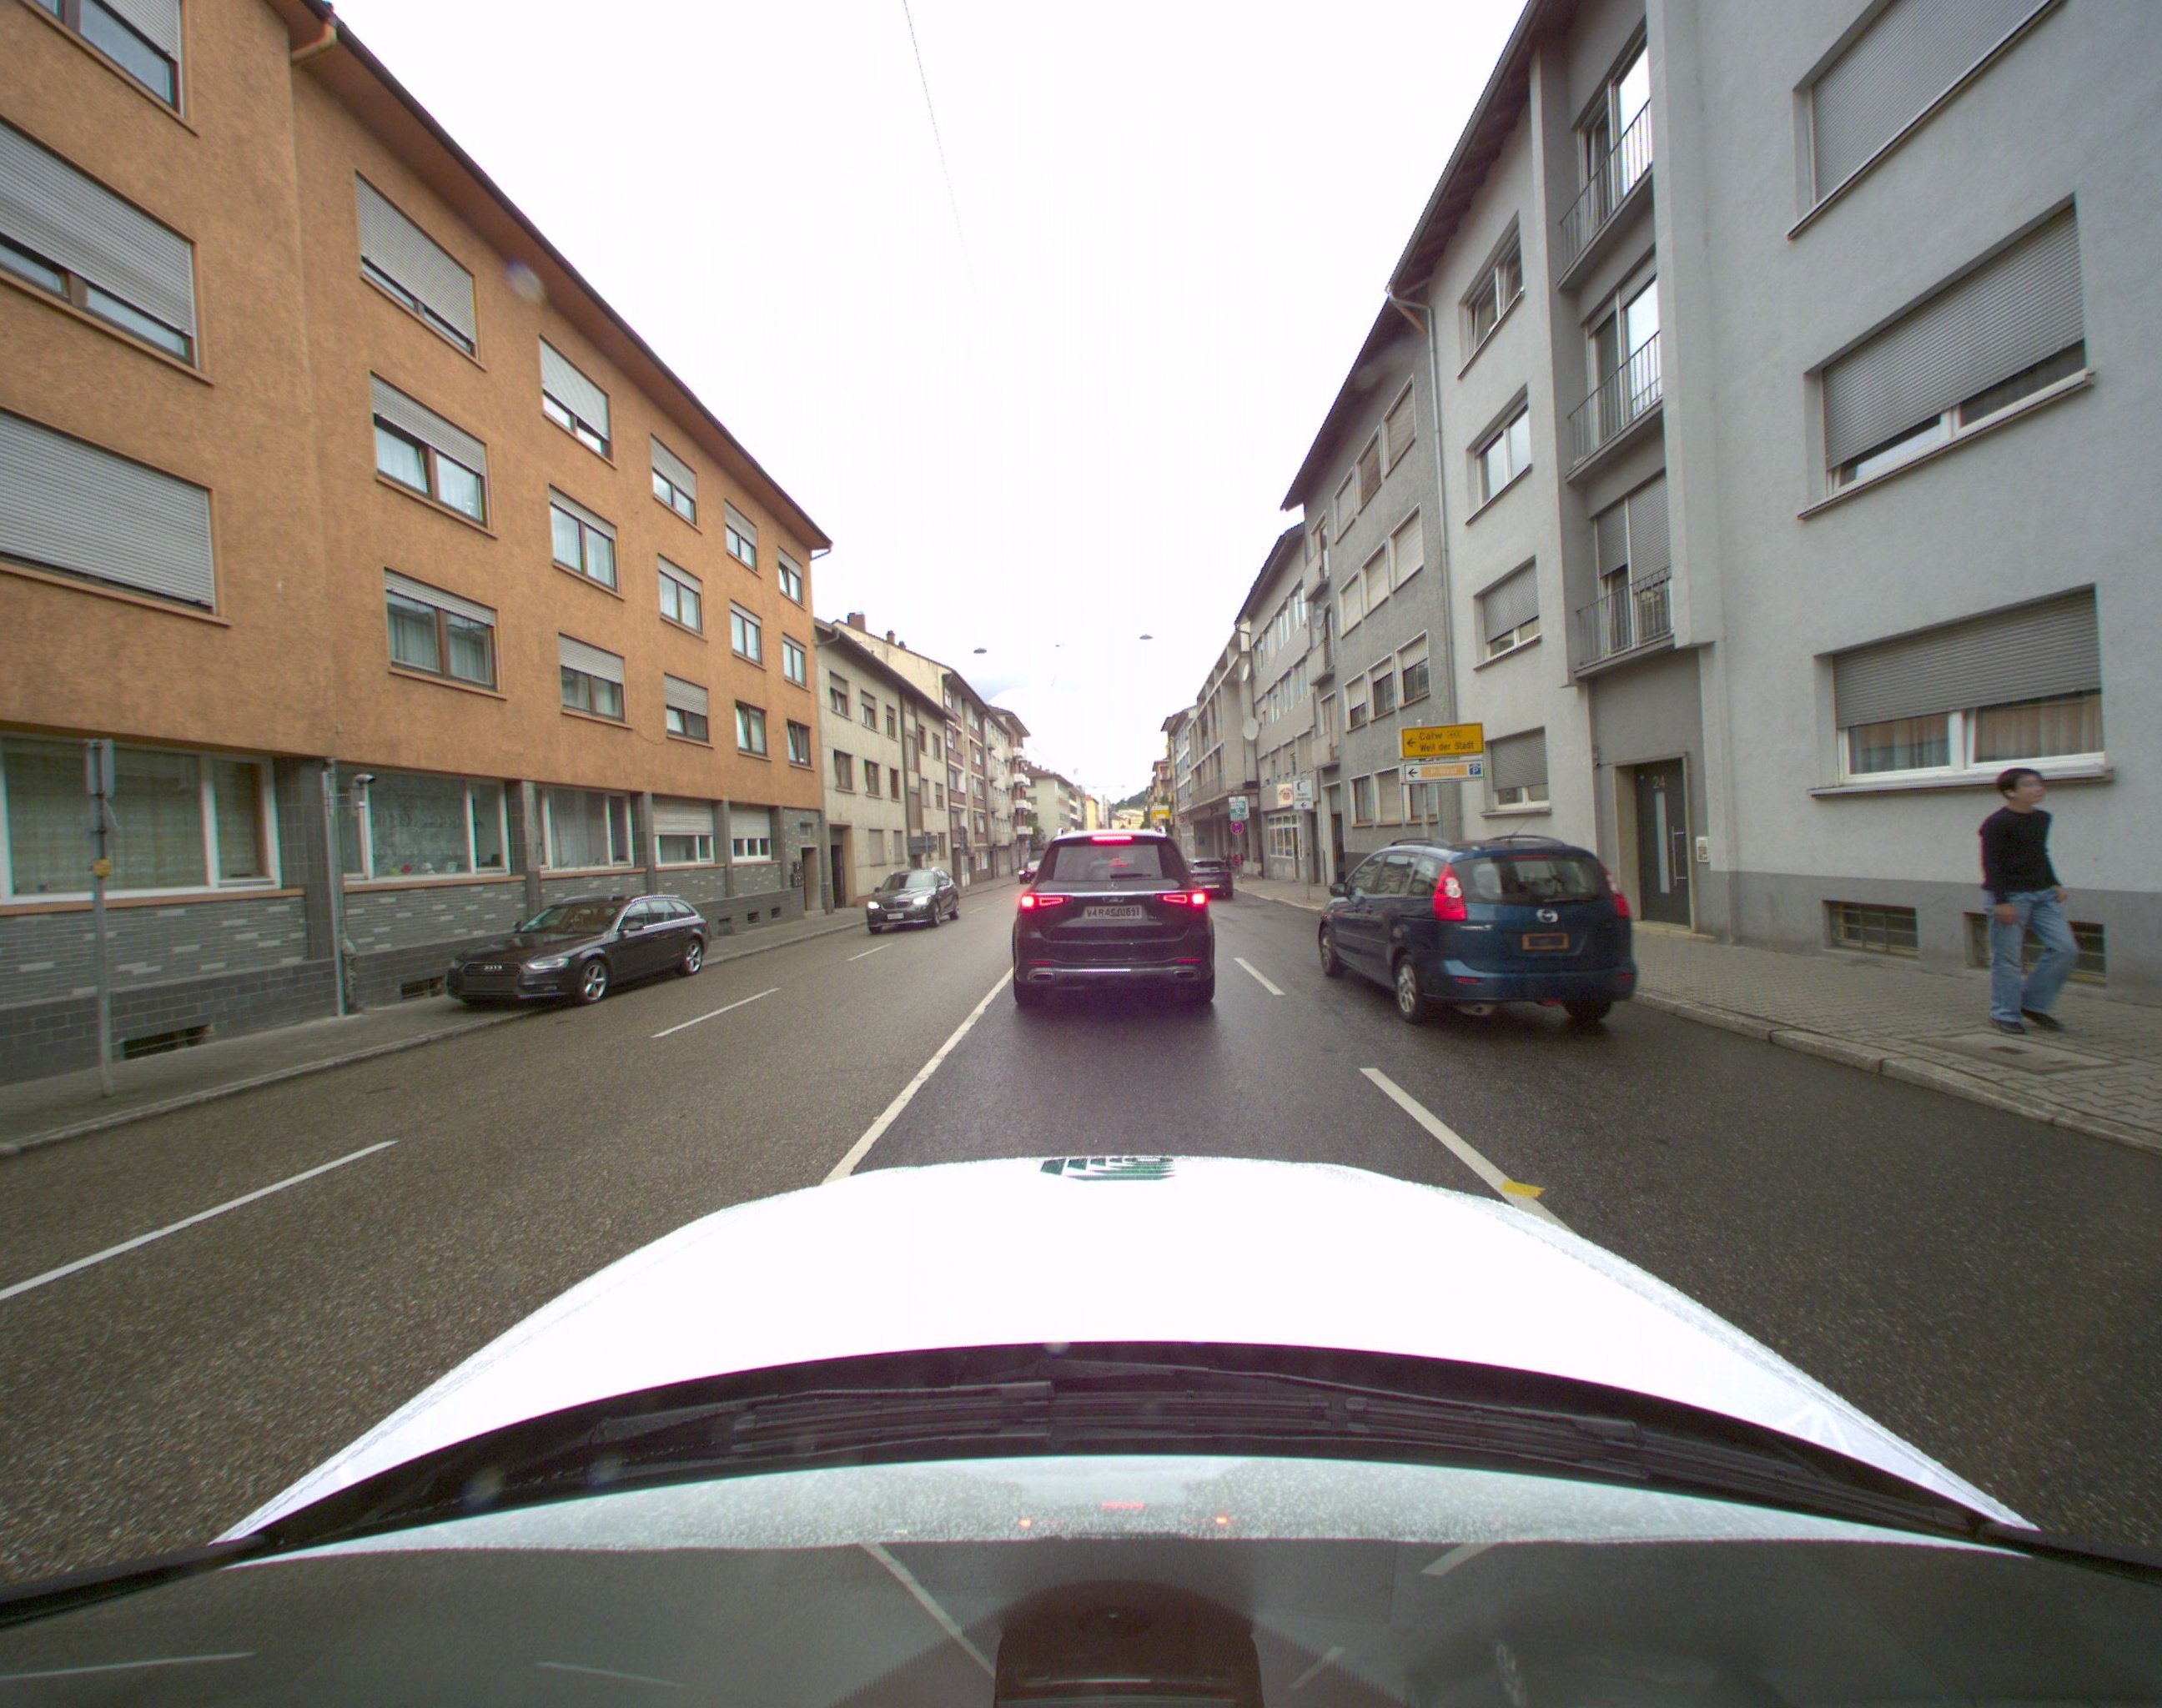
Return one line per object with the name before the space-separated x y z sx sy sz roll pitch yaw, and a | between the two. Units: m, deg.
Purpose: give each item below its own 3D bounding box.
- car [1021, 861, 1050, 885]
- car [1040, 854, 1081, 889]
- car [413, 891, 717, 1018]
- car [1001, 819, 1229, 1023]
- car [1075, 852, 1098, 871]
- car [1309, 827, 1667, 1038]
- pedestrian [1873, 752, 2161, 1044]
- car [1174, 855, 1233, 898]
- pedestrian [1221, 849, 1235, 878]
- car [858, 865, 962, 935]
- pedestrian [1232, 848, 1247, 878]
car | -3.392 1.427 61.307 1.791 1.584 4.316 -5 0 1
car | -1.146 0.959 46.905 1.828 1.727 4.479 -5 0 4
car | -7.673 1.398 12.773 1.789 1.438 4.528 0 0 1
car | 0.347 0.595 9.245 2.018 1.806 4.001 0 0 1
car | 0.563 0.711 81.198 2.119 1.720 4.819 -5 0 1
car | 3.742 0.615 8.433 1.800 1.606 4.216 -1 0 4
pedestrian | 6.390 0.277 5.638 0.641 1.778 1.057 -5 0 1
car | 4.442 0.770 29.975 1.615 1.430 4.313 0 0 1
pedestrian | 7.896 0.506 43.810 0.504 1.500 0.562 -5 0 1
car | -4.457 1.144 21.839 1.697 1.507 4.160 -5 0 1
pedestrian | 8.499 0.489 43.678 0.557 1.578 0.527 -5 0 4
